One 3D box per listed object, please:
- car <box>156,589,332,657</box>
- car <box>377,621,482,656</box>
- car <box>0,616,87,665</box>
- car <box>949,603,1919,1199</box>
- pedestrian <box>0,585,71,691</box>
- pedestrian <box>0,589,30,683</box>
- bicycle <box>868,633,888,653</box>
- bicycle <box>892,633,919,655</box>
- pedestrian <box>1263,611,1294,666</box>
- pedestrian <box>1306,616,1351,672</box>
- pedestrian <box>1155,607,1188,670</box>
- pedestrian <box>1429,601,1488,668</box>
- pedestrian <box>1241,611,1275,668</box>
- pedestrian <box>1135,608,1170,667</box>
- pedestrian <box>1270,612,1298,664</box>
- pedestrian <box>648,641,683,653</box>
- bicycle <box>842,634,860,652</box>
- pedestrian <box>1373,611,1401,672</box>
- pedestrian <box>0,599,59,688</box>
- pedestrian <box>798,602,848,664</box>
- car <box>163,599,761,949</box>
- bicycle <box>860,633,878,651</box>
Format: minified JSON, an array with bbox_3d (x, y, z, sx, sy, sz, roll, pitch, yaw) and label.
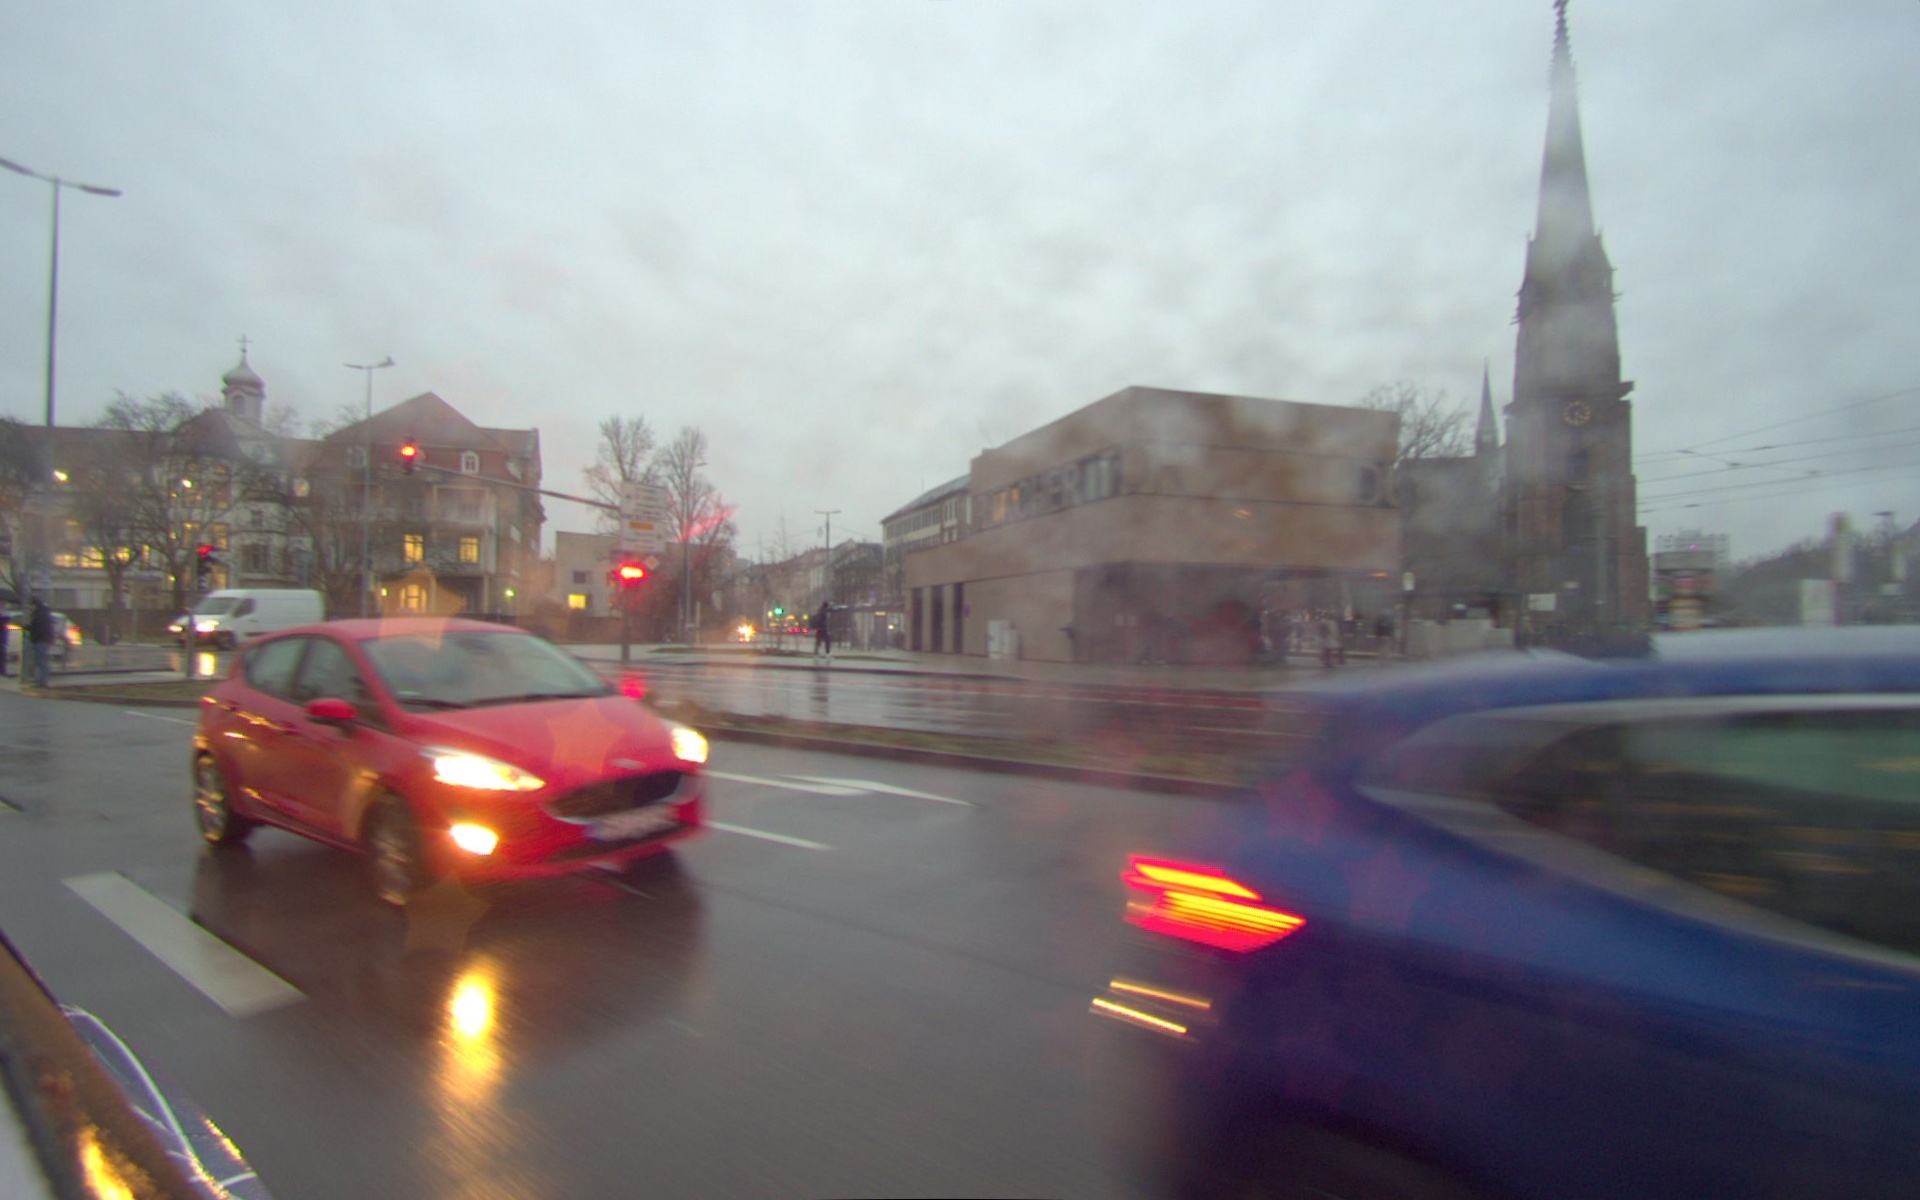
[{"bbox_3d":[-29.237,0.997,41.651,2.326,2.537,5.840,-3,-3,14],"label":"car"},{"bbox_3d":[-26.794,1.960,51.305,1.823,1.656,4.789,0,-2,17],"label":"car"},{"bbox_3d":[-30.543,1.305,32.069,1.734,1.515,4.307,-2,-3,7],"label":"car"},{"bbox_3d":[2.102,0.714,1.377,4.114,1.414,1.643,-1,0,38],"label":"car"},{"bbox_3d":[-18.334,0.766,20.056,1.107,2.021,0.838,-4,-4,36],"label":"pedestrian"},{"bbox_3d":[-21.719,0.810,22.457,1.023,2.065,1.212,-2,-3,7],"label":"pedestrian"},{"bbox_3d":[-4.777,2.509,58.846,0.636,1.113,2.758,-1,-3,-16],"label":"bicycle"},{"bbox_3d":[-2.952,2.376,54.540,0.597,1.113,2.759,-1,-2,-22],"label":"bicycle"},{"bbox_3d":[10.183,1.233,32.340,0.742,1.739,0.734,-1,-3,34],"label":"pedestrian"},{"bbox_3d":[10.993,1.315,30.199,0.841,1.615,0.968,1,-3,-20],"label":"pedestrian"},{"bbox_3d":[6.088,1.111,29.127,0.828,1.781,0.656,-1,-3,24],"label":"pedestrian"},{"bbox_3d":[14.642,1.020,29.762,1.104,1.933,1.065,1,-3,-16],"label":"pedestrian"},{"bbox_3d":[9.267,1.235,31.489,0.731,1.739,0.745,3,-3,-41],"label":"pedestrian"},{"bbox_3d":[5.801,1.121,30.506,0.731,1.739,0.745,3,-3,-41],"label":"pedestrian"},{"bbox_3d":[11.062,1.295,34.511,0.741,1.739,0.734,-1,-3,33],"label":"pedestrian"},{"bbox_3d":[-26.691,4.254,91.808,3.048,0.937,0.951,-1,-3,-14],"label":"pedestrian"},{"bbox_3d":[-7.118,2.802,65.997,0.636,1.113,2.758,-1,-3,-16],"label":"bicycle"},{"bbox_3d":[12.591,1.233,29.846,0.758,1.764,0.794,-1,-3,23],"label":"pedestrian"},{"bbox_3d":[-20.469,0.950,21.885,1.056,1.872,1.034,-2,-3,4],"label":"pedestrian"},{"bbox_3d":[-4.258,1.032,31.394,1.018,1.872,1.237,0,-4,-37],"label":"pedestrian"},{"bbox_3d":[-3.204,0.791,6.242,3.864,1.493,1.686,-1,0,36],"label":"car"},{"bbox_3d":[-5.965,2.773,66.221,0.636,1.113,2.758,-1,-3,-16],"label":"bicycle"}]
